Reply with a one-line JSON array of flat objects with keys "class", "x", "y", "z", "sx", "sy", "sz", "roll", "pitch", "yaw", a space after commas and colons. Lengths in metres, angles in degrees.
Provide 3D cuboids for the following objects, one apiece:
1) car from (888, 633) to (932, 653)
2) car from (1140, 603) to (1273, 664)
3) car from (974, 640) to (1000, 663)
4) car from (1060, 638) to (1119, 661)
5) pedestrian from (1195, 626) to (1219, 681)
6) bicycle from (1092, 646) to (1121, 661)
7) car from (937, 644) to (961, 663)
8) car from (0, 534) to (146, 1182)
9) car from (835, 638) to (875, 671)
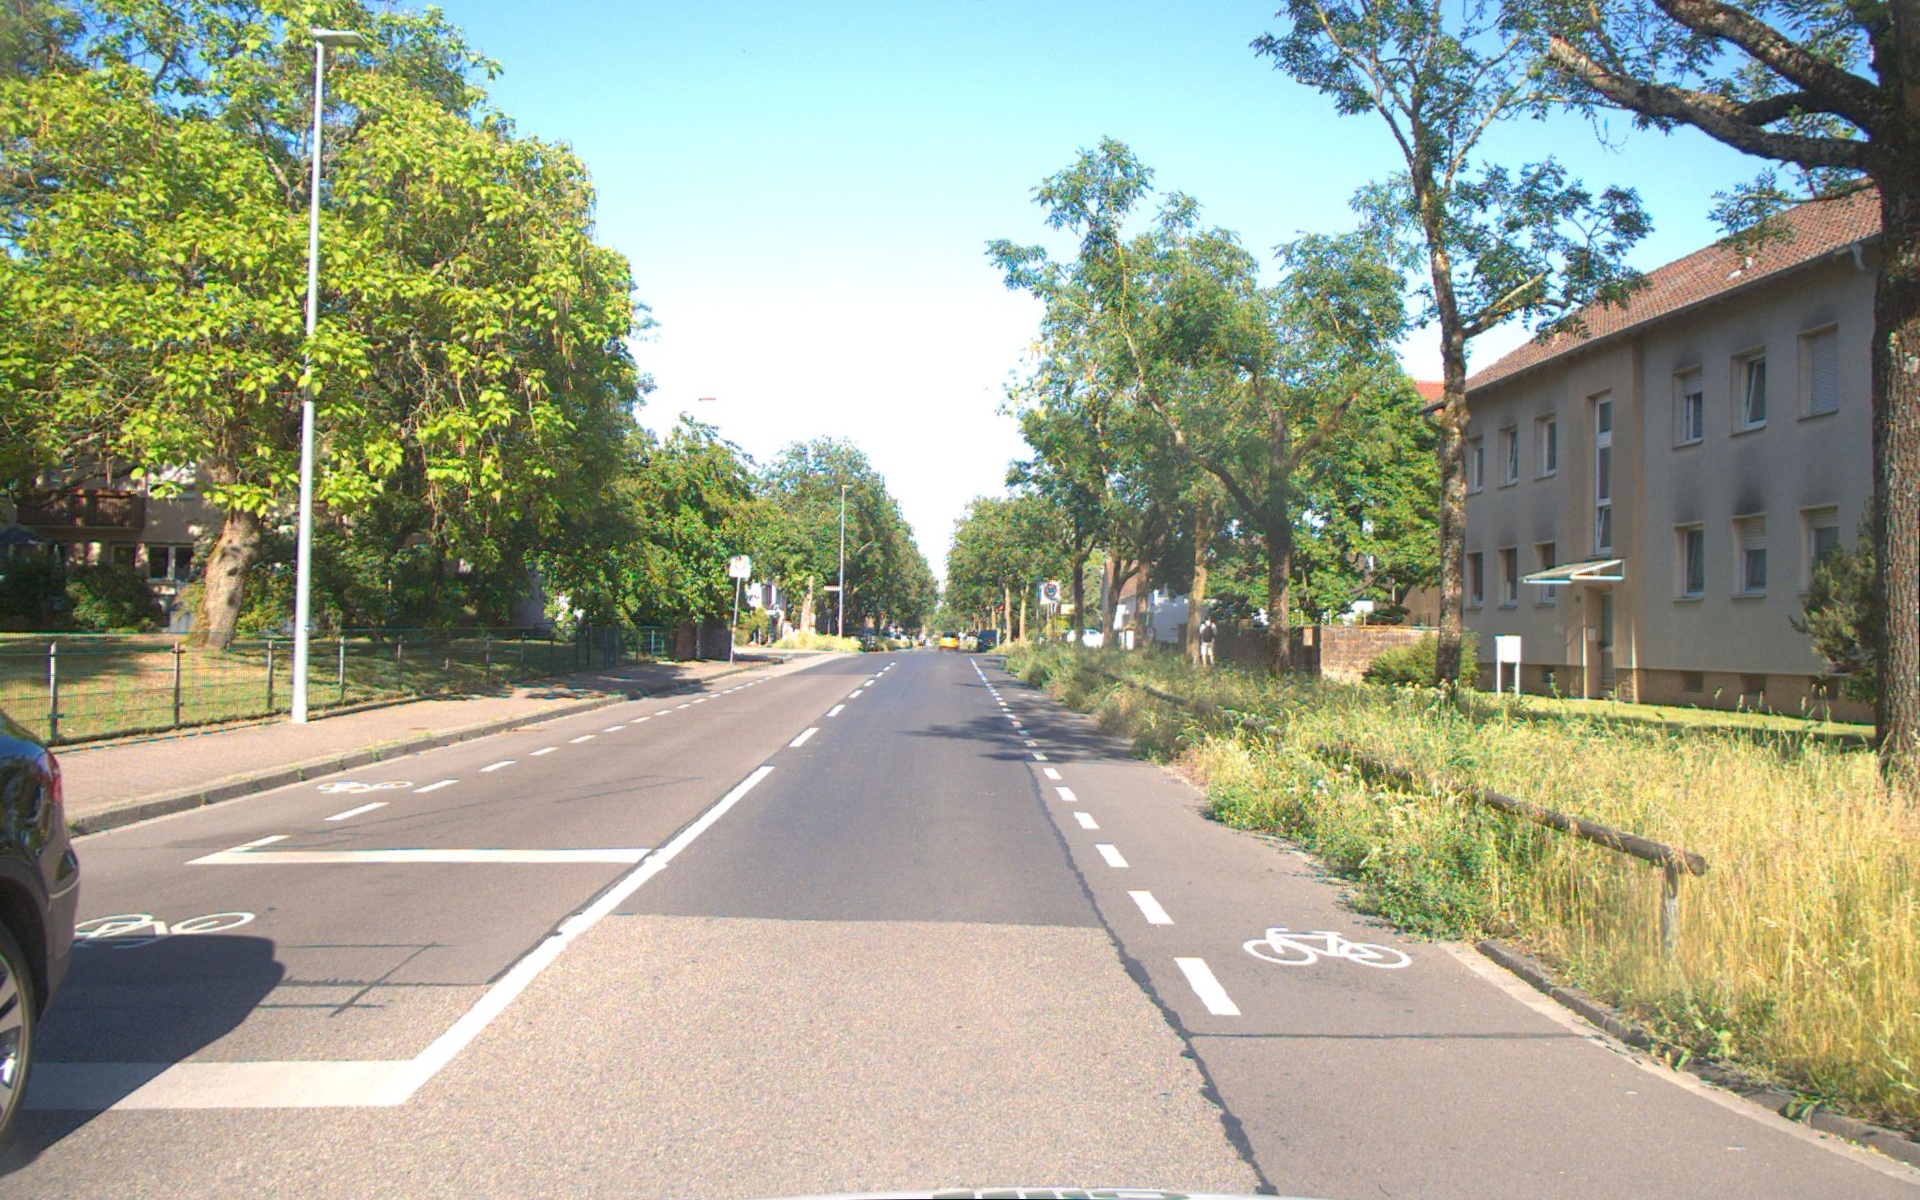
[{"class": "car", "x": -6.284, "y": 5.391, "z": 206.608, "sx": 5.388, "sy": 2.287, "sz": 2.515, "roll": 2, "pitch": -1, "yaw": -2}, {"class": "car", "x": 10.931, "y": 1.492, "z": 73.468, "sx": 5.484, "sy": 2.584, "sz": 2.264, "roll": 1, "pitch": -1, "yaw": -4}, {"class": "car", "x": 2.032, "y": 3.865, "z": 124.533, "sx": 1.815, "sy": 1.654, "sz": 4.468, "roll": 0, "pitch": -3, "yaw": -1}, {"class": "car", "x": 9.108, "y": 3.489, "z": 116.333, "sx": 3.906, "sy": 1.515, "sz": 1.901, "roll": -1, "pitch": 0, "yaw": -2}, {"class": "pedestrian", "x": 8.032, "y": 1.733, "z": 53.786, "sx": 0.624, "sy": 1.736, "sz": 0.612, "roll": -2, "pitch": -1, "yaw": -2}, {"class": "bicycle", "x": 10.110, "y": 3.670, "z": 114.161, "sx": 1.884, "sy": 1.016, "sz": 0.576, "roll": -1, "pitch": -1, "yaw": -2}, {"class": "car", "x": -0.985, "y": 4.762, "z": 146.563, "sx": 1.850, "sy": 1.505, "sz": 3.885, "roll": 3, "pitch": -2, "yaw": -3}, {"class": "car", "x": -3.339, "y": 0.646, "z": 2.766, "sx": 1.777, "sy": 1.646, "sz": 4.391, "roll": -1, "pitch": -1, "yaw": 0}, {"class": "car", "x": -6.103, "y": 3.221, "z": 96.508, "sx": 1.913, "sy": 1.757, "sz": 4.874, "roll": 2, "pitch": -3, "yaw": 0}]
